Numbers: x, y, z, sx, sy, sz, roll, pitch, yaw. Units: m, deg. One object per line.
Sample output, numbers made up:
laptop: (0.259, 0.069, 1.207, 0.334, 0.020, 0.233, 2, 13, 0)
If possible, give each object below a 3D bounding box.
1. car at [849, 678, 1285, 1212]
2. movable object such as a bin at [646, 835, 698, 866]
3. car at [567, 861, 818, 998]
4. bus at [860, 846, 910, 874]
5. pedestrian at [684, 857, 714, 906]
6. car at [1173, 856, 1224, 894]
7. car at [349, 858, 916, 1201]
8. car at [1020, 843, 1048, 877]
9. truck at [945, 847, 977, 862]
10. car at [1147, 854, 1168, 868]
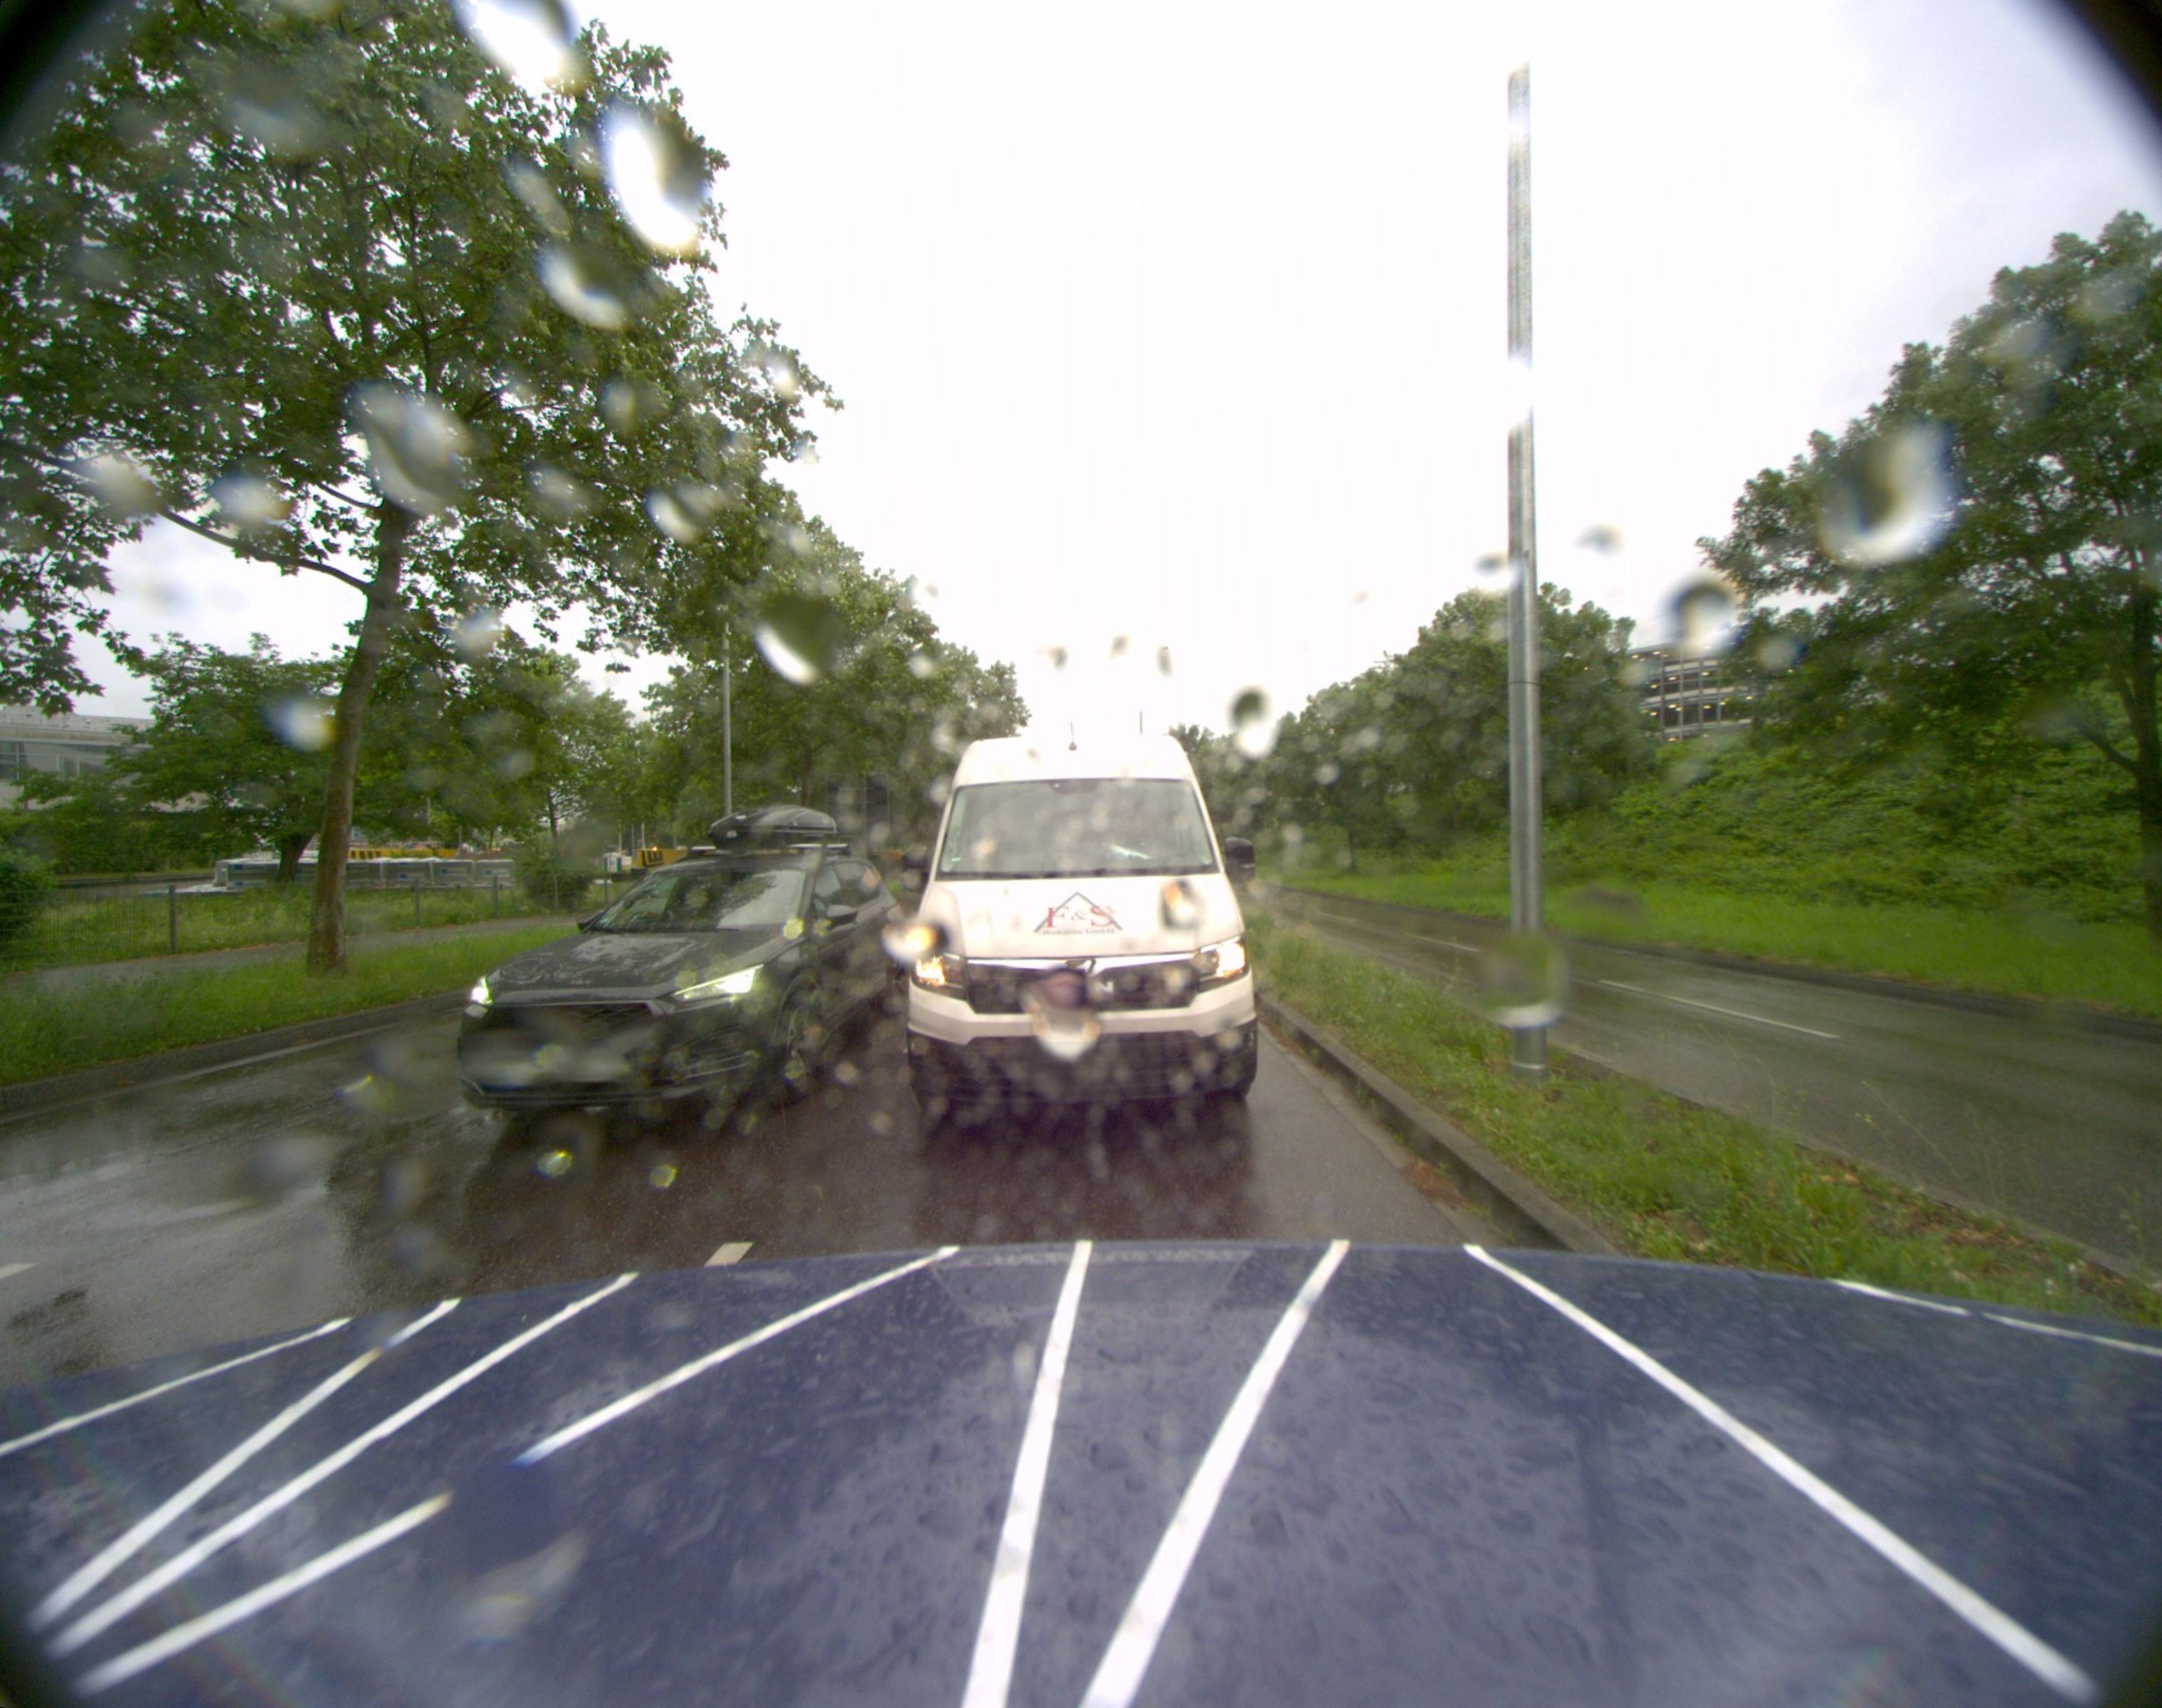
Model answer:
car: (-0.110, 0.424, 6.457, 2.027, 2.498, 5.695, -1, 0, -1)
movable object such as a bin: (-48.214, -0.402, 89.684, 1.913, 3.415, 4.947, -1, 1, 43)
car: (-5.753, 1.002, 11.924, 1.679, 1.675, 4.148, -3, 0, 1)
bus: (-19.138, 0.557, 74.391, 4.370, 2.553, 1.711, -2, 1, 0)
pedestrian: (-13.621, 0.982, 27.132, 0.646, 1.707, 0.656, -2, 1, 1)
car: (5.367, 0.915, 35.160, 1.739, 1.511, 4.047, 2, 1, 0)
car: (-2.766, 0.908, 6.096, 1.894, 1.688, 4.423, -1, 0, 0)
car: (-3.568, 0.447, 58.706, 1.894, 2.432, 5.317, -1, 0, -1)
truck: (-20.983, 0.072, 132.619, 5.061, 2.363, 1.792, -3, 1, -30)
car: (8.593, 0.751, 85.461, 1.891, 1.510, 4.301, 1, 0, 0)
